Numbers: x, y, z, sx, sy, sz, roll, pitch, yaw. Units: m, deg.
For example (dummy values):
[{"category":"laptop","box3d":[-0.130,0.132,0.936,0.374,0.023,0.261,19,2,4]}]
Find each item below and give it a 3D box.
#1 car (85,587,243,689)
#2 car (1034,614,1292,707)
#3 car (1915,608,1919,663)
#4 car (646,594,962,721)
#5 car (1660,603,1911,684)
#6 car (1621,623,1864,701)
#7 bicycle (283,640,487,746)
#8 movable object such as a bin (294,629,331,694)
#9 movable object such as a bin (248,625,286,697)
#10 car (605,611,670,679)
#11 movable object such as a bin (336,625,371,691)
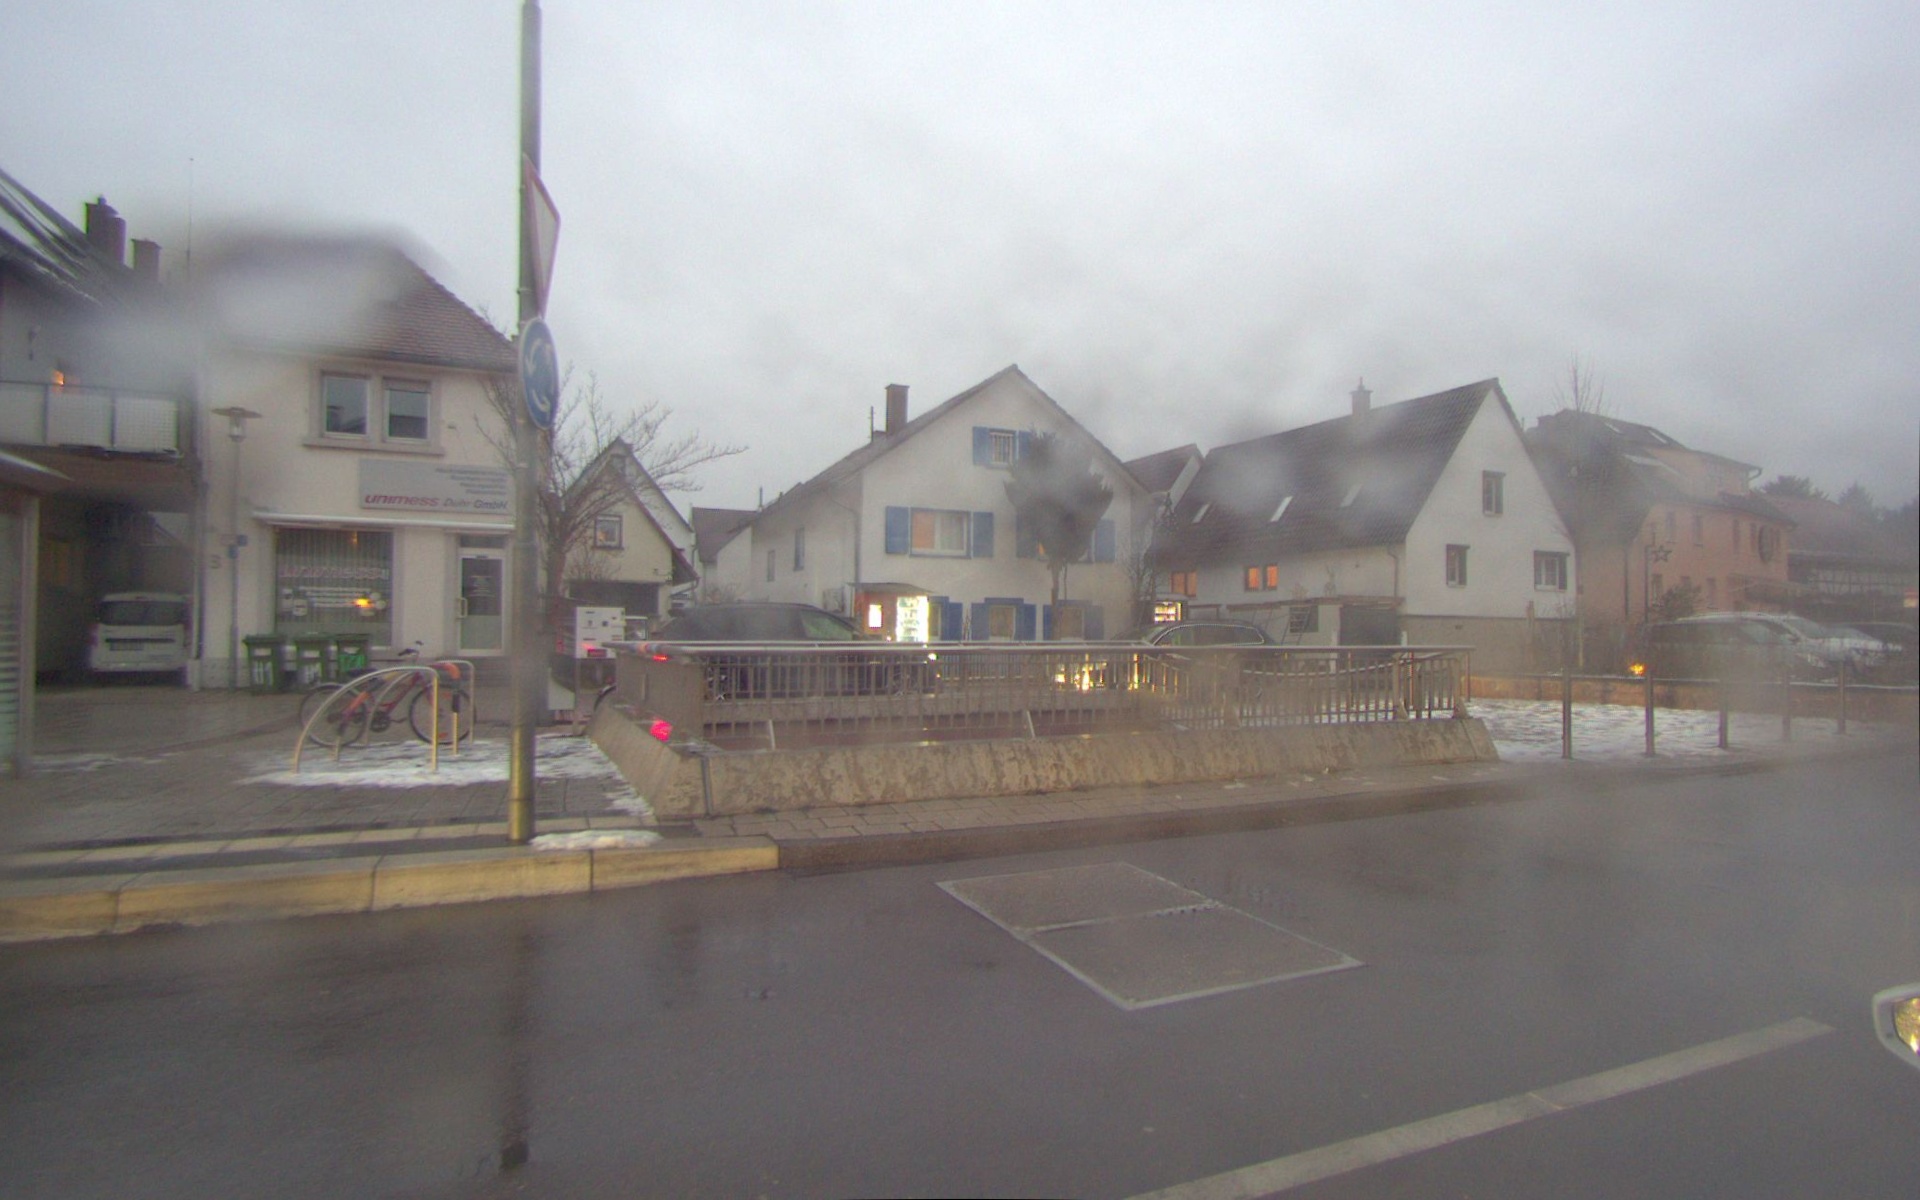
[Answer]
[{"category":"car","box3d":[-16.063,0.766,20.457,1.491,1.877,3.411,2,-2,-21]},{"category":"car","box3d":[3.745,1.050,18.398,4.514,1.502,1.796,0,-3,-28]},{"category":"car","box3d":[31.369,1.108,29.429,1.978,1.689,4.601,2,-1,-32]},{"category":"car","box3d":[-2.379,0.840,15.397,4.501,1.723,1.751,0,-3,-24]},{"category":"car","box3d":[17.402,0.875,21.380,1.690,1.543,3.785,2,-1,-23]},{"category":"car","box3d":[15.227,1.153,19.718,1.582,1.390,3.428,1,-2,-30]},{"category":"bicycle","box3d":[-5.793,0.923,10.199,1.709,1.023,0.470,1,-1,-14]},{"category":"movable object such as a bin","box3d":[-11.484,1.089,17.824,0.447,1.135,0.286,3,-1,-25]},{"category":"movable object such as a bin","box3d":[-12.101,1.064,17.542,0.447,1.225,0.286,3,-1,-25]},{"category":"car","box3d":[-10.459,1.472,32.428,1.810,2.045,3.566,0,-3,-21]},{"category":"movable object such as a bin","box3d":[-10.904,1.044,18.076,0.447,1.157,0.286,3,-1,-25]}]
